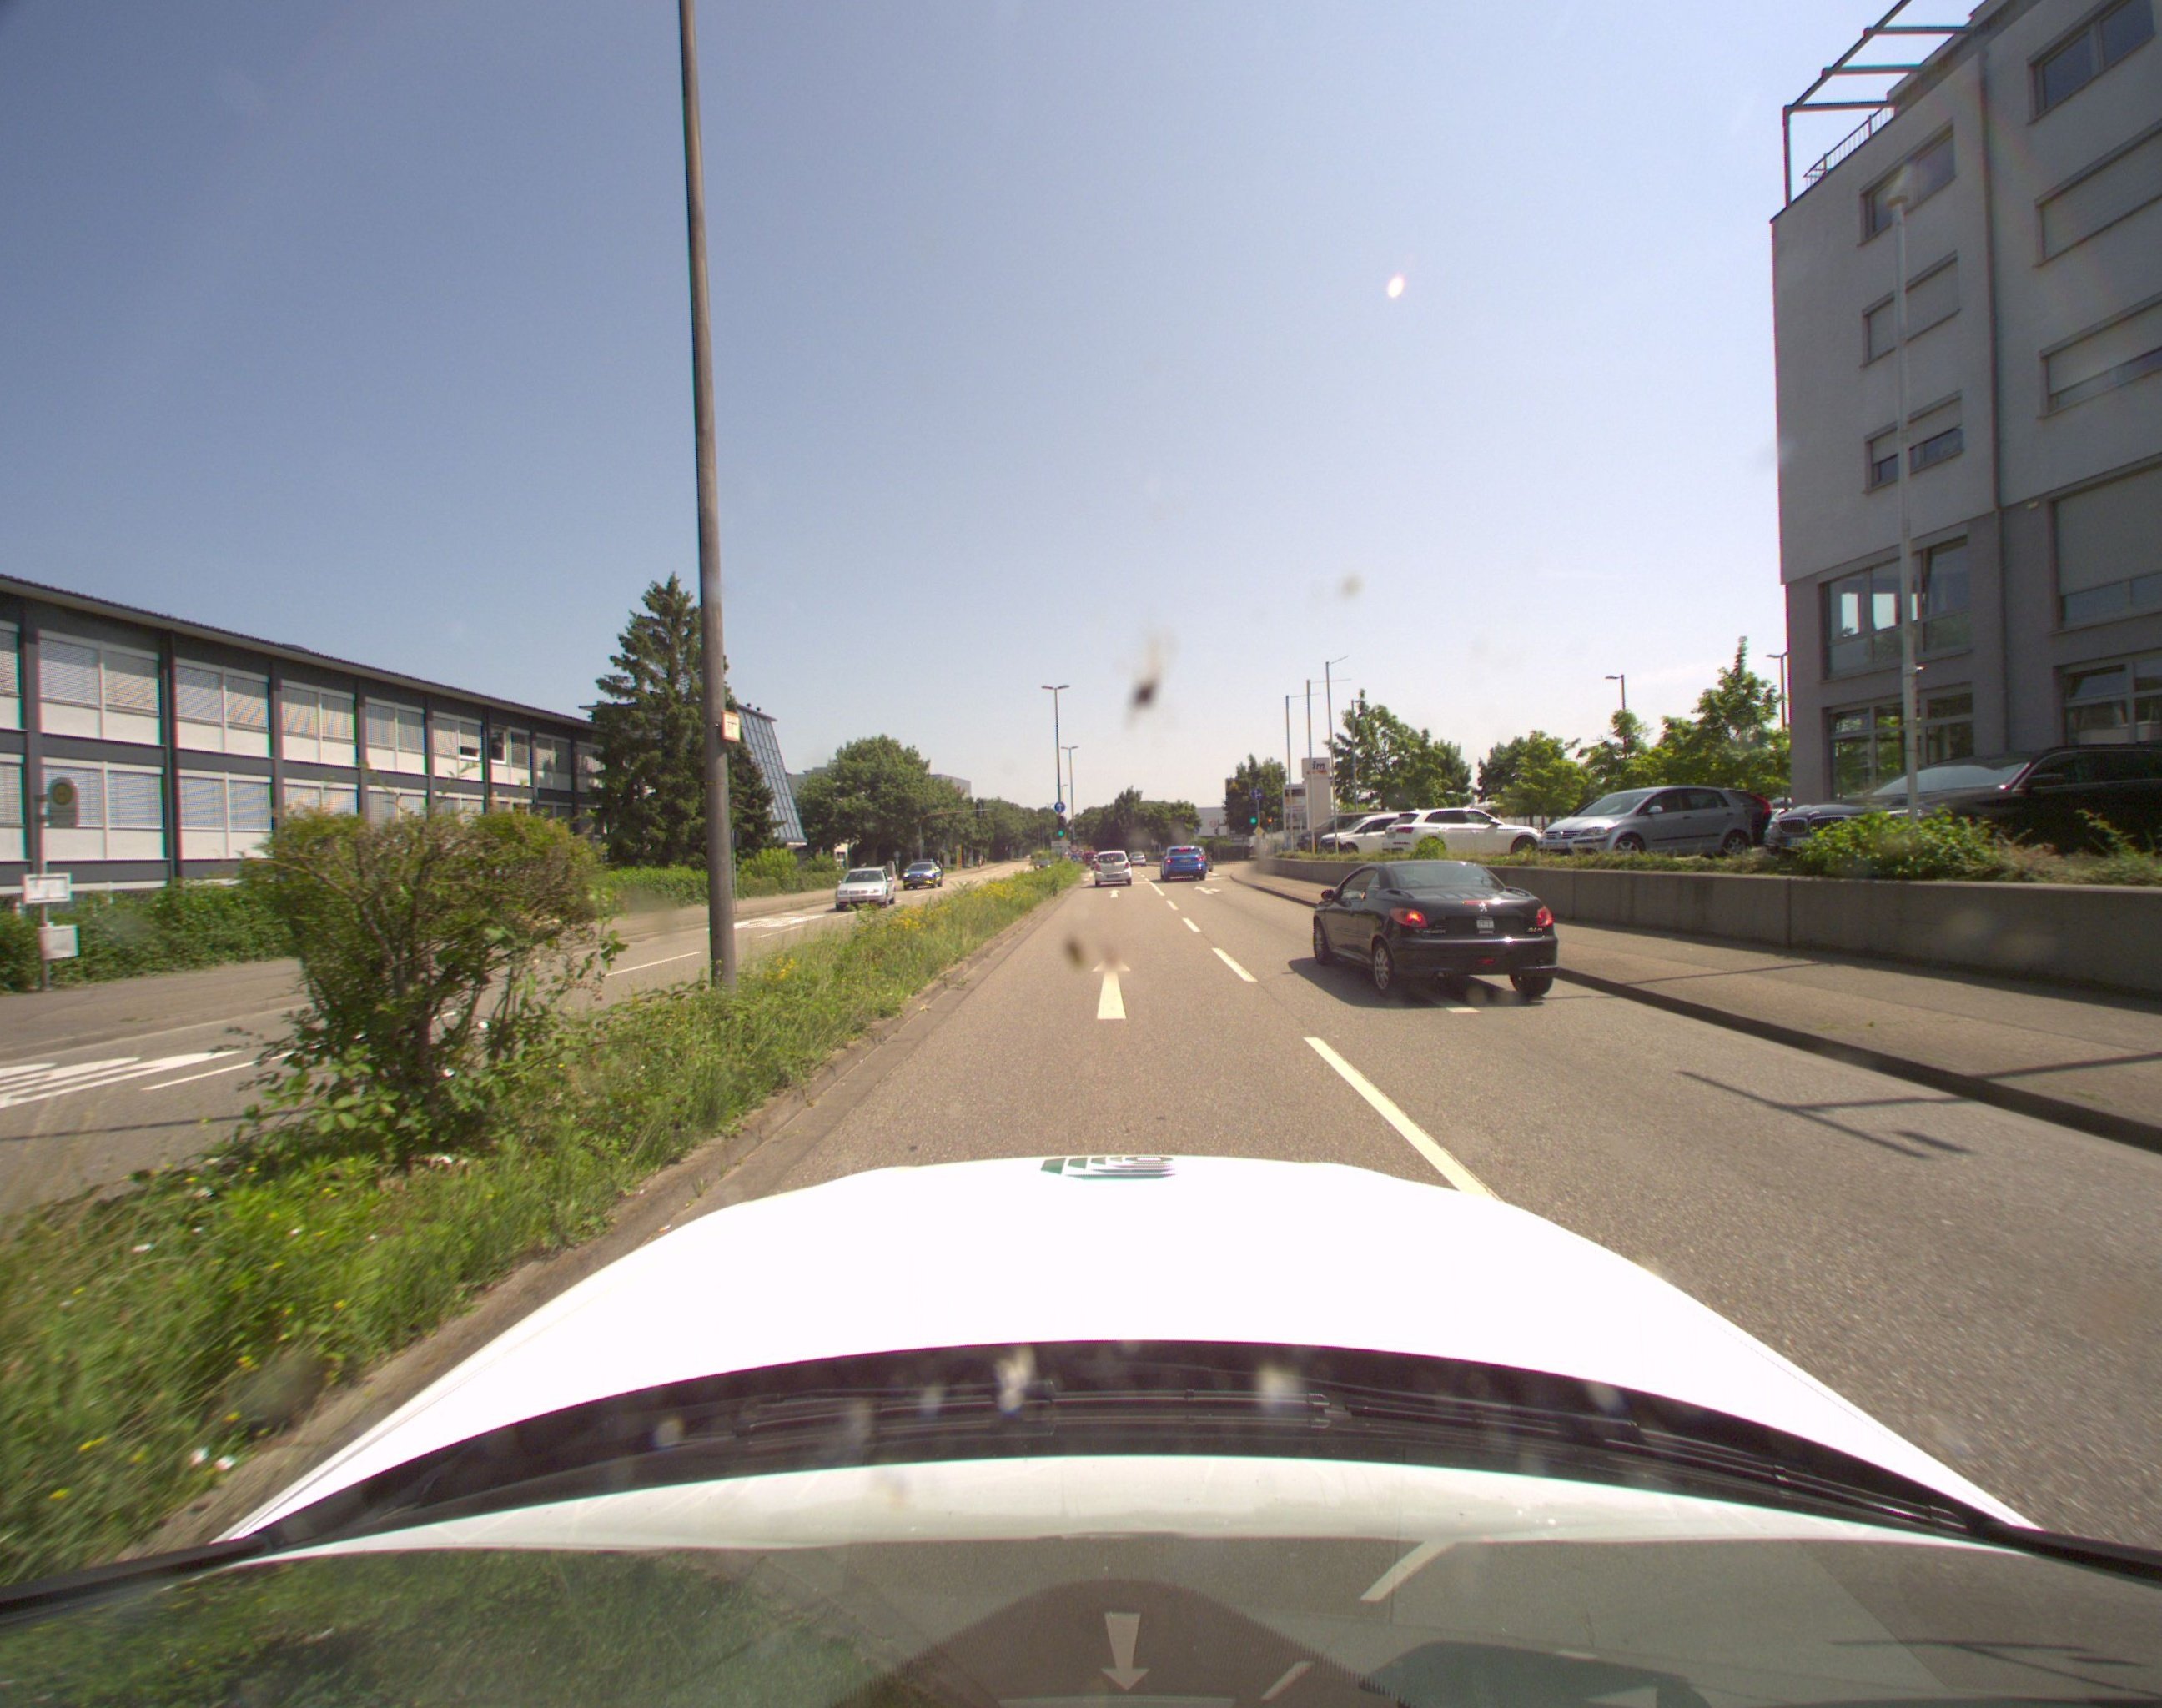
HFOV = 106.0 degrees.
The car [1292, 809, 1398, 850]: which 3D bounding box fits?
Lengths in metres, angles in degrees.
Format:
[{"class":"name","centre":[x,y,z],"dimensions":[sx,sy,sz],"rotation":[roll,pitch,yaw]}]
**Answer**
[{"class":"car","centre":[11.539,-1.039,35.817],"dimensions":[3.975,1.544,1.999],"rotation":[-3,0,-1]}]

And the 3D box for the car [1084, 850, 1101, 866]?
[{"class":"car","centre":[1.299,0.491,94.014],"dimensions":[1.771,1.740,3.997],"rotation":[-2,0,-2]}]

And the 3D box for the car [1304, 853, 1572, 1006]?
[{"class":"car","centre":[3.845,0.703,9.442],"dimensions":[1.621,1.364,3.607],"rotation":[-1,1,2]}]

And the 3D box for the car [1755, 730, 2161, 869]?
[{"class":"car","centre":[11.204,-0.640,9.929],"dimensions":[4.307,1.368,1.999],"rotation":[-3,0,-1]}]

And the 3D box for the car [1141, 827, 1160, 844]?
[{"class":"car","centre":[8.875,-2.305,104.181],"dimensions":[1.765,2.013,3.988],"rotation":[-3,1,-2]}]

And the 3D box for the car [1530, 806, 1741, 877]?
[{"class":"car","centre":[13.487,-0.280,20.065],"dimensions":[3.893,1.452,1.772],"rotation":[-3,0,14]}]

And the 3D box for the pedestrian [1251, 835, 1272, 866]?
[{"class":"pedestrian","centre":[9.585,-0.180,43.241],"dimensions":[0.767,1.608,1.092],"rotation":[-3,0,28]}]

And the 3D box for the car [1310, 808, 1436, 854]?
[{"class":"car","centre":[11.757,-0.905,32.976],"dimensions":[4.334,1.544,1.999],"rotation":[-3,0,-1]}]

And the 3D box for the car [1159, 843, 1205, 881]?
[{"class":"car","centre":[4.597,0.342,37.575],"dimensions":[1.820,1.580,3.609],"rotation":[-2,1,3]}]

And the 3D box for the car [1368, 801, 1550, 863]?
[{"class":"car","centre":[11.259,-0.639,24.487],"dimensions":[4.520,1.544,2.000],"rotation":[-3,0,0]}]

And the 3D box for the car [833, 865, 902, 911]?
[{"class":"car","centre":[-7.597,1.172,29.300],"dimensions":[1.734,1.413,4.361],"rotation":[-2,0,-7]}]

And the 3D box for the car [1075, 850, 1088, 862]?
[{"class":"car","centre":[0.089,0.291,118.218],"dimensions":[1.791,1.690,4.001],"rotation":[-3,0,1]}]

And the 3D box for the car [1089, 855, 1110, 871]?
[{"class":"car","centre":[1.796,0.846,79.180],"dimensions":[1.987,1.442,4.000],"rotation":[-3,0,1]}]

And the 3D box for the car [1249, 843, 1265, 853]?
[{"class":"car","centre":[24.042,-0.837,111.336],"dimensions":[1.498,1.262,3.168],"rotation":[-3,0,3]}]

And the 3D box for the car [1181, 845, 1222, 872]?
[{"class":"car","centre":[6.578,0.217,44.201],"dimensions":[1.446,1.376,3.510],"rotation":[-3,0,21]}]

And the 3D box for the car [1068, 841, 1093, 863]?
[{"class":"car","centre":[-0.071,-0.186,65.156],"dimensions":[1.815,1.661,3.996],"rotation":[-2,1,-3]}]

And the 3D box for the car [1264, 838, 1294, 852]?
[{"class":"car","centre":[23.173,-1.068,95.398],"dimensions":[1.516,1.464,3.129],"rotation":[-2,0,-38]}]

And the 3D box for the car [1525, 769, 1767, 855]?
[{"class":"car","centre":[11.178,-0.816,16.191],"dimensions":[3.927,1.452,1.756],"rotation":[-3,0,-14]}]

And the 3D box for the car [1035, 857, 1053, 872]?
[{"class":"car","centre":[-3.427,0.918,75.046],"dimensions":[1.571,1.269,3.725],"rotation":[-3,0,-4]}]

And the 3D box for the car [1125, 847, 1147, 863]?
[{"class":"car","centre":[5.536,0.082,82.302],"dimensions":[1.987,1.420,4.001],"rotation":[-3,0,1]}]

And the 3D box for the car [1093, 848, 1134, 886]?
[{"class":"car","centre":[1.483,0.551,36.661],"dimensions":[1.741,1.520,3.748],"rotation":[-1,1,2]}]
